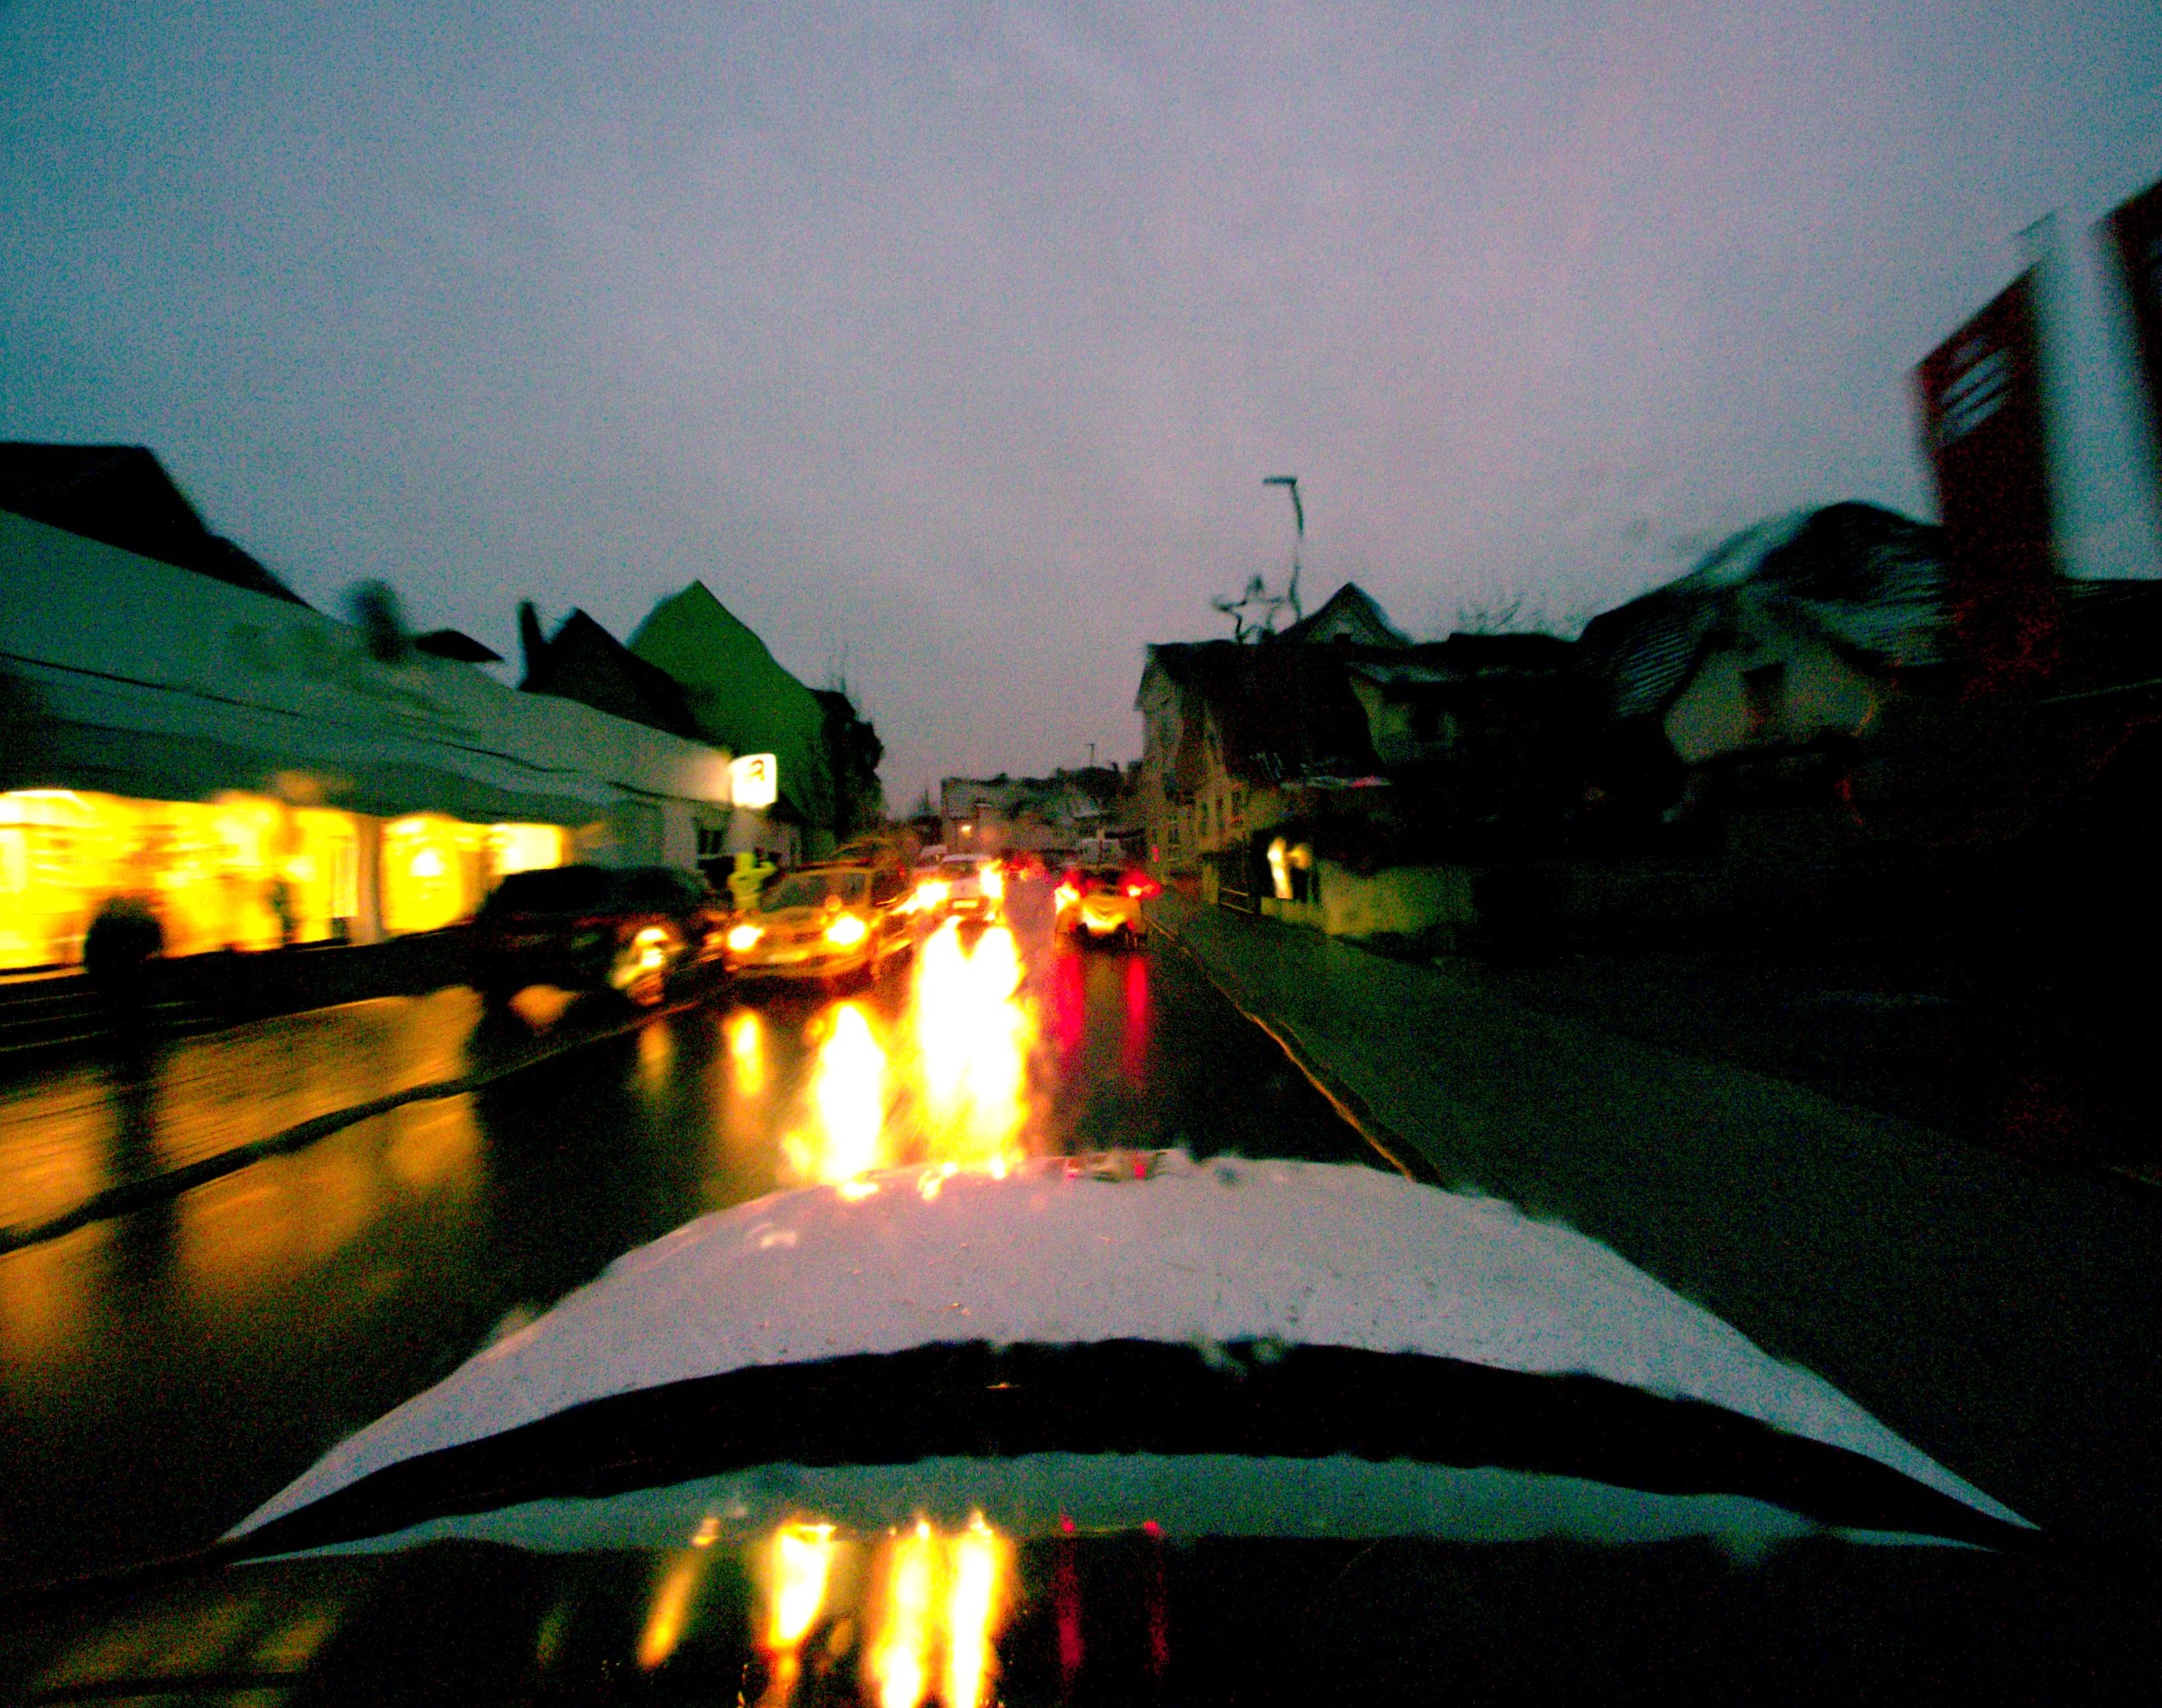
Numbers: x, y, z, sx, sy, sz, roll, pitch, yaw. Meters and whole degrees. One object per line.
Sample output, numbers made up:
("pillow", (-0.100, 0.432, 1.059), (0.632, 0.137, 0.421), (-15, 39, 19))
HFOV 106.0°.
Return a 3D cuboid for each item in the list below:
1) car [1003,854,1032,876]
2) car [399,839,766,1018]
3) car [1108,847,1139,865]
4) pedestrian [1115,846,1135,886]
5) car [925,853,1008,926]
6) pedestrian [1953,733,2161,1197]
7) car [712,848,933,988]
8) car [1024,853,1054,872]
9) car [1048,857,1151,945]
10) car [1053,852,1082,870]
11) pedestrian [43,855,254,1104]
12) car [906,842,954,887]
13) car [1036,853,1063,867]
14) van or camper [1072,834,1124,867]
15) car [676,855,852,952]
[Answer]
("car", (-4.822, 0.821, 61.660), (1.992, 1.588, 3.989), (-1, -1, -7))
("car", (-6.078, 0.758, 10.889), (2.082, 1.792, 5.016), (-1, 0, -4))
("car", (4.341, 0.194, 83.636), (1.794, 1.553, 3.975), (-8, 2, -18))
("pedestrian", (1.934, 0.517, 35.598), (0.743, 1.729, 0.872), (-2, 1, -4))
("car", (-3.111, 0.868, 22.426), (1.950, 1.546, 4.405), (-3, 2, -7))
("pedestrian", (4.419, 0.390, 3.278), (0.831, 1.705, 0.848), (-4, -1, 12))
("car", (-3.696, 0.785, 12.708), (1.988, 1.705, 4.963), (0, 1, -2))
("car", (-4.273, 0.887, 82.569), (1.998, 1.765, 4.325), (-4, 0, -17))
("car", (0.390, 0.845, 16.386), (1.807, 1.533, 4.001), (-1, -1, 2))
("car", (-1.425, 0.772, 82.979), (1.997, 1.610, 4.153), (-4, -1, -15))
("pedestrian", (-7.803, 0.964, 6.836), (1.000, 1.876, 0.948), (-2, -1, 28))
("car", (-9.210, 0.642, 50.100), (2.483, 2.560, 6.744), (0, -1, -7))
("car", (-3.658, 0.724, 94.721), (1.828, 1.462, 4.519), (-4, 1, -19))
("van or camper", (1.642, -0.281, 83.819), (2.663, 3.047, 6.682), (-5, 1, -23))
("car", (-6.391, 0.914, 17.066), (1.875, 1.710, 4.710), (-1, -1, -1))
